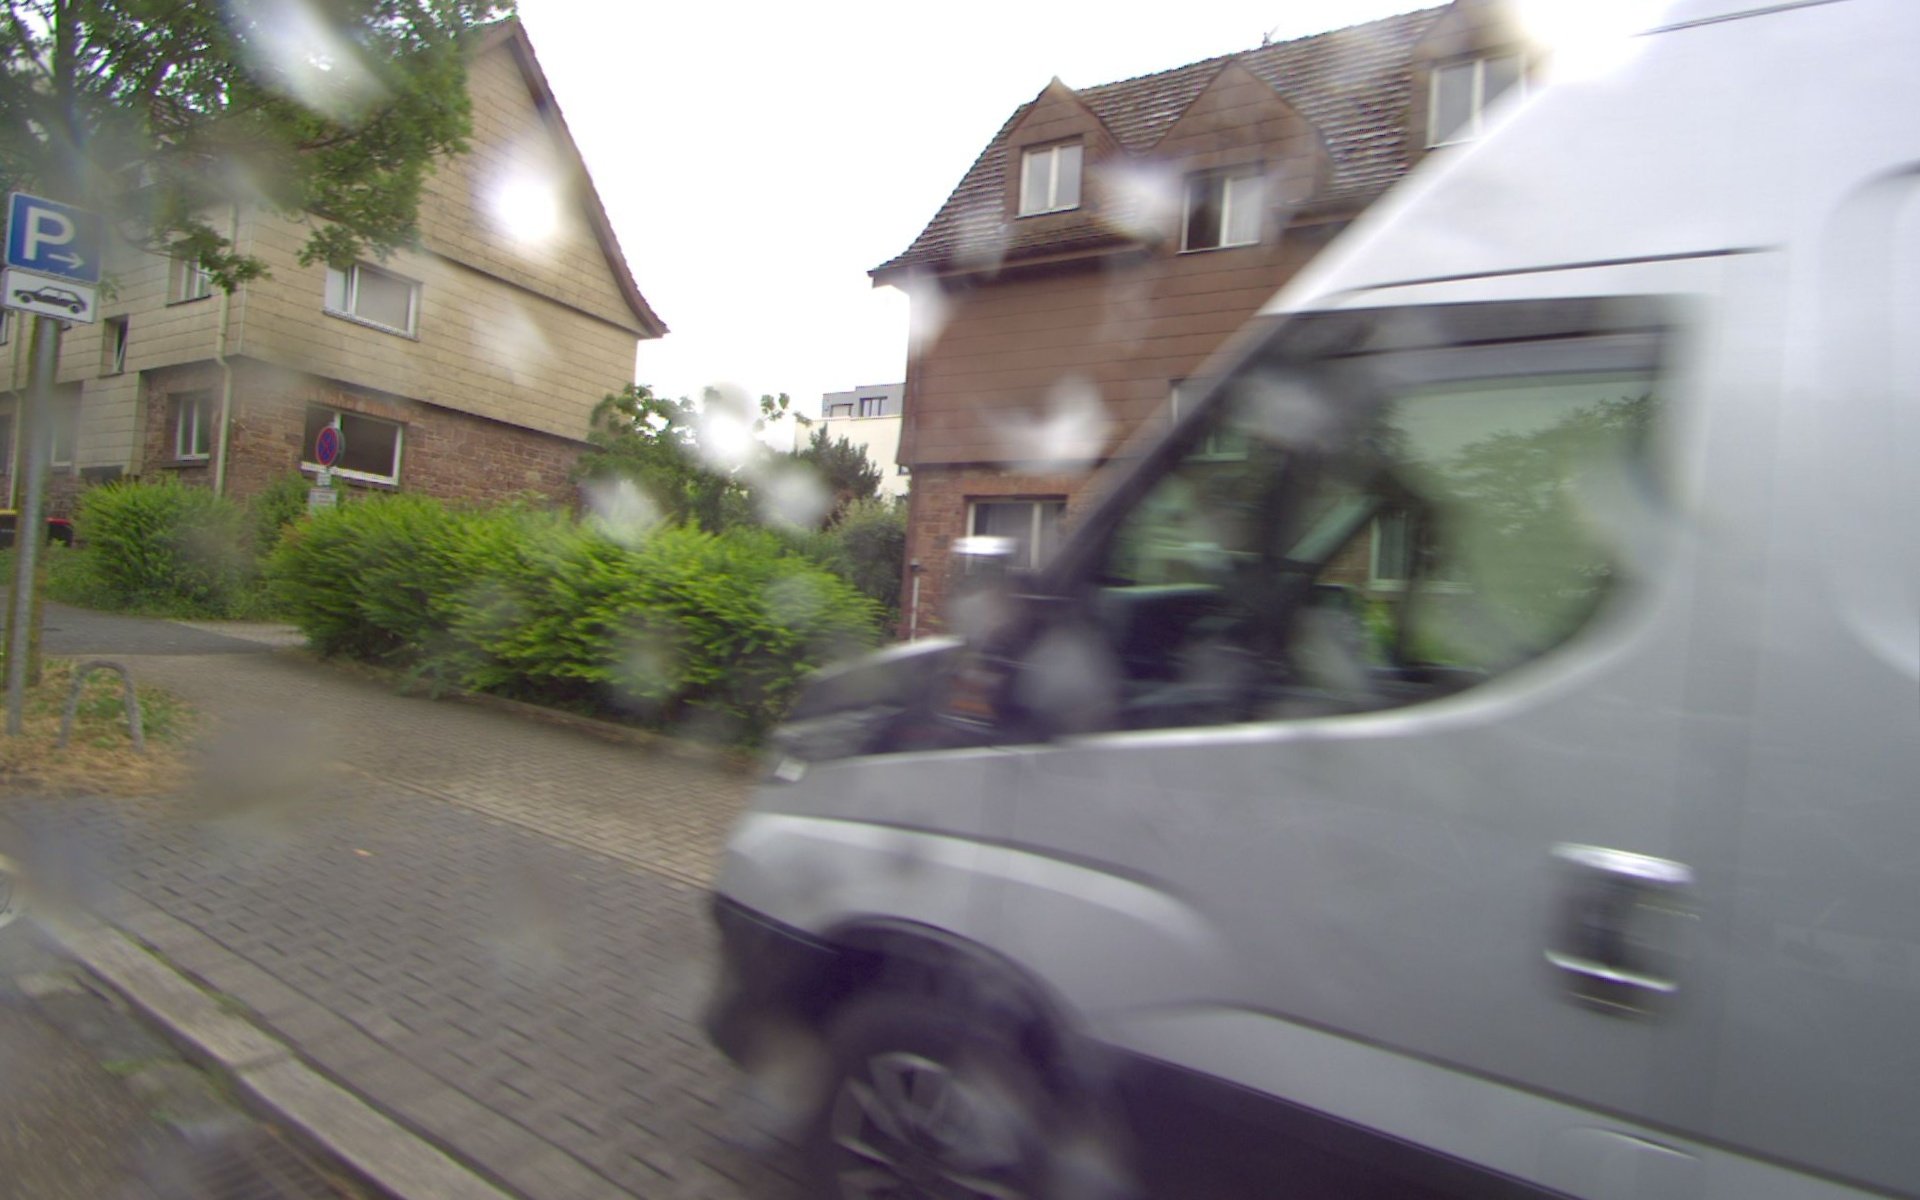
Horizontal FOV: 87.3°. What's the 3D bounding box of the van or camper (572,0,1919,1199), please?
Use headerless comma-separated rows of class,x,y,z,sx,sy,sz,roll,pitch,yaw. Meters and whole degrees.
van or camper,2.788,0.378,1.386,7.181,2.686,2.198,7,2,32
